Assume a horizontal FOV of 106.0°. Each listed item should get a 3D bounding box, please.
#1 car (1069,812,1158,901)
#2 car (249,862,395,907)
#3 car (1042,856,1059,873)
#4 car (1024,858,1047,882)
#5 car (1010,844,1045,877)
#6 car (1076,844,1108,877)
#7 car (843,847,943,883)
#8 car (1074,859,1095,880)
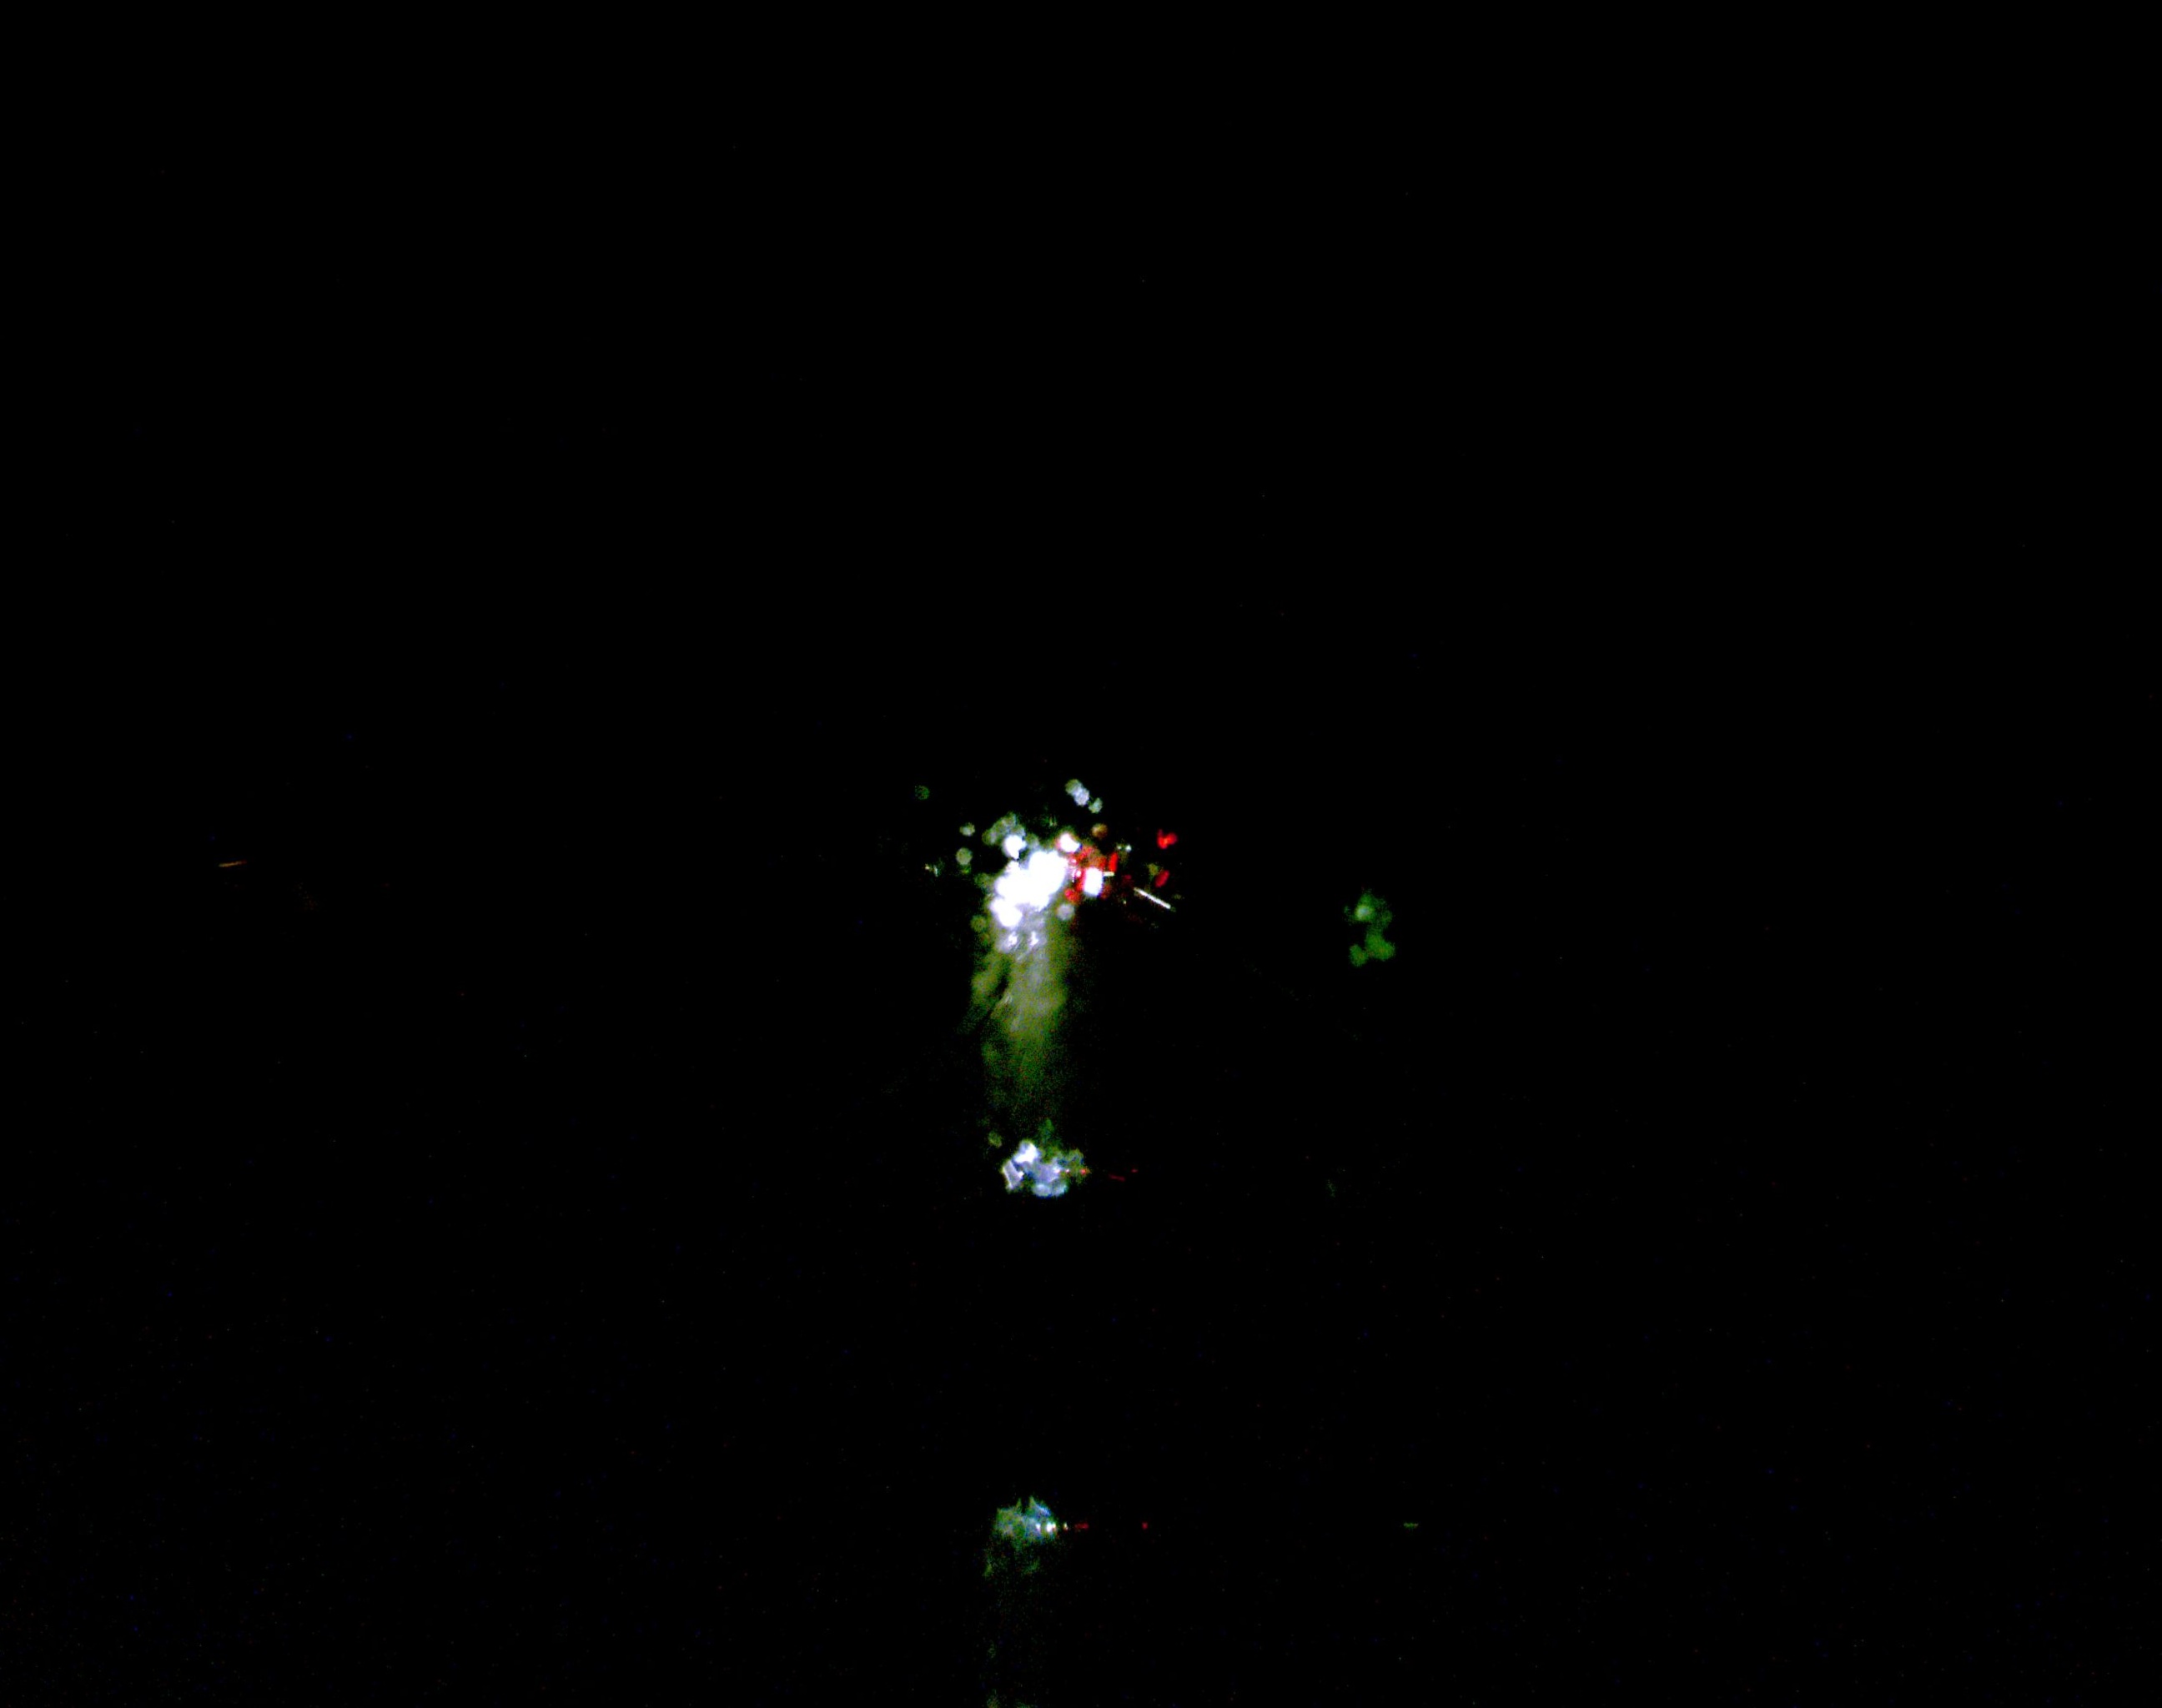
[{"bbox_3d":[0.907,0.072,26.396,2.531,2.498,5.712,-1,0,-1],"label":"car"},{"bbox_3d":[-31.725,1.247,34.139,1.672,1.687,4.190,-4,-1,36],"label":"car"},{"bbox_3d":[-3.527,1.257,95.234,1.887,1.910,3.792,1,-1,-2],"label":"car"},{"bbox_3d":[-4.091,1.458,73.478,1.988,2.067,3.996,1,-1,-2],"label":"car"},{"bbox_3d":[-3.010,0.341,46.586,1.749,1.734,3.998,1,1,-2],"label":"car"},{"bbox_3d":[0.694,0.504,54.702,1.988,2.014,3.997,1,-3,-1],"label":"car"},{"bbox_3d":[-10.061,0.568,43.794,4.901,1.735,1.998,-1,0,-3],"label":"car"},{"bbox_3d":[0.293,1.391,70.810,1.734,1.714,3.699,1,-3,1],"label":"car"}]
